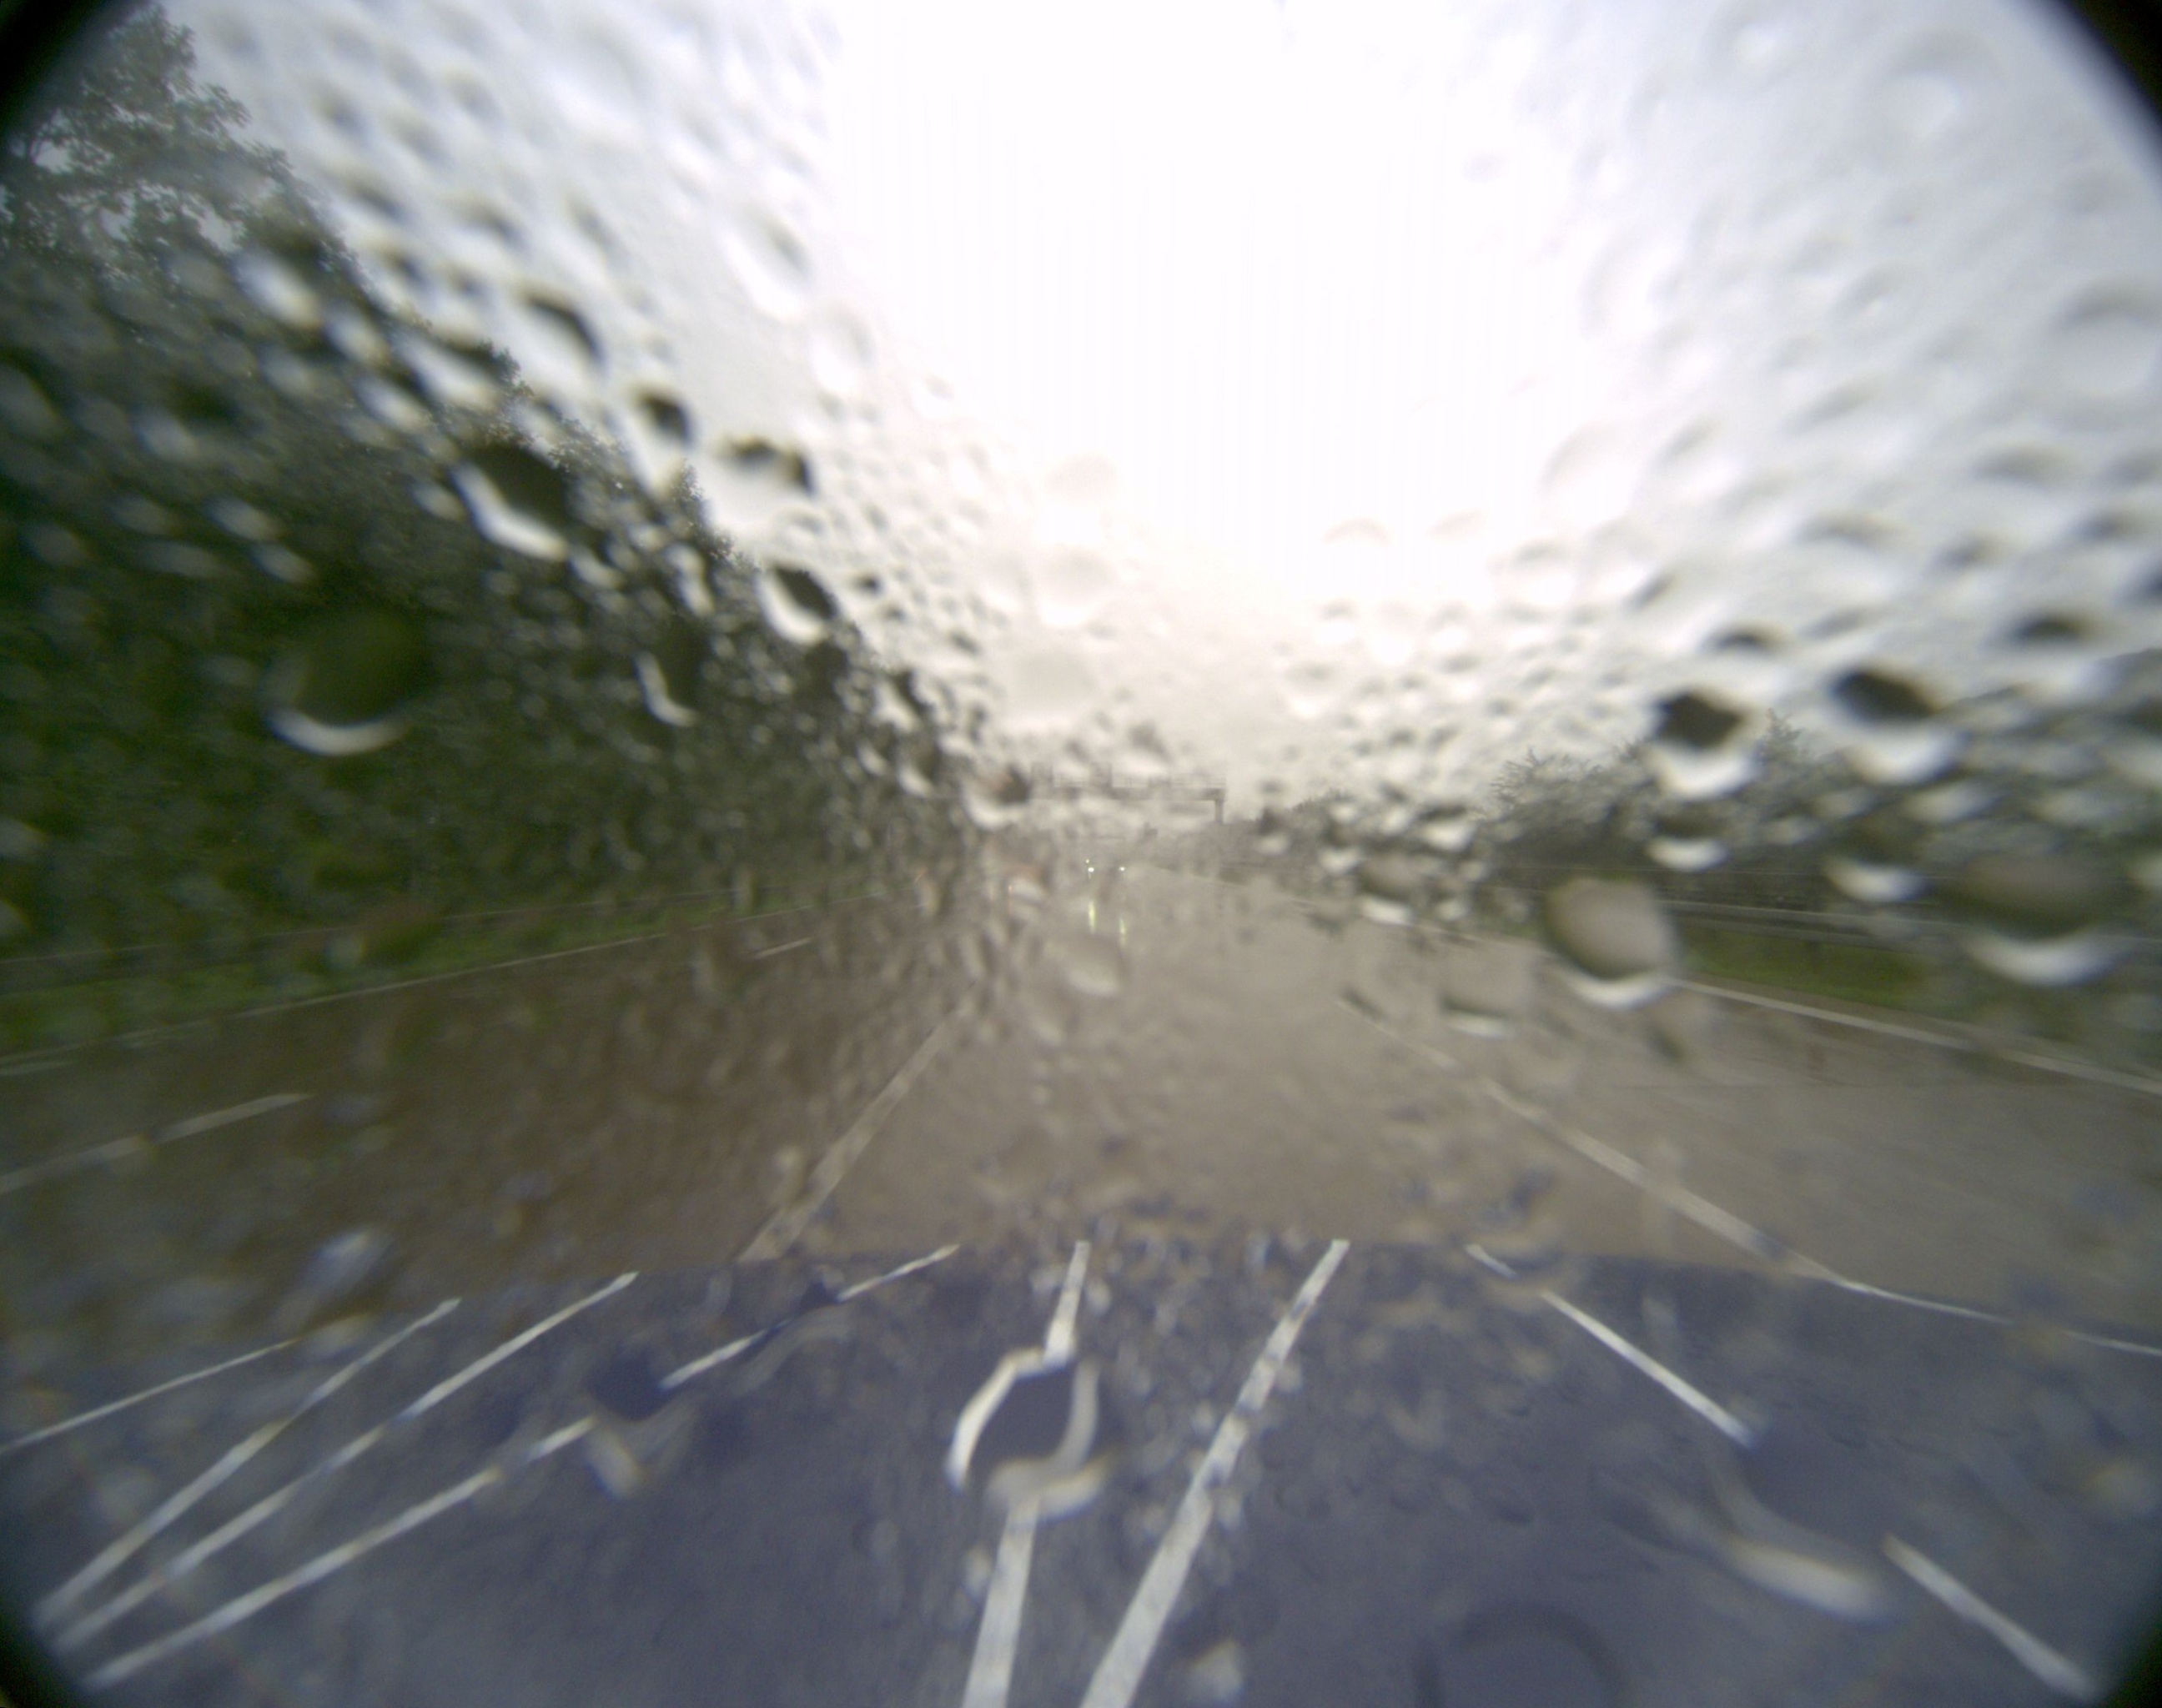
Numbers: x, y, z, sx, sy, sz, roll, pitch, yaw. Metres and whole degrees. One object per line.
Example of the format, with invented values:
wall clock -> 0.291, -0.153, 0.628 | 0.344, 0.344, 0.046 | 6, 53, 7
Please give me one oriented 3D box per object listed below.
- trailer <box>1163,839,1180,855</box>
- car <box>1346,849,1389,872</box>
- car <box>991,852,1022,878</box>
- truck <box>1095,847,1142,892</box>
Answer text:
trailer -> 24.871, -1.946, 210.148 | 3.363, 4.149, 11.401 | -1, 0, 0
car -> 23.539, 0.526, 62.584 | 1.998, 1.772, 4.000 | -2, 1, 1
car -> -5.974, 0.844, 61.182 | 1.859, 2.002, 4.001 | -1, 0, 4
truck -> 1.725, 0.647, 37.328 | 1.998, 2.002, 7.575 | 0, 0, 0
